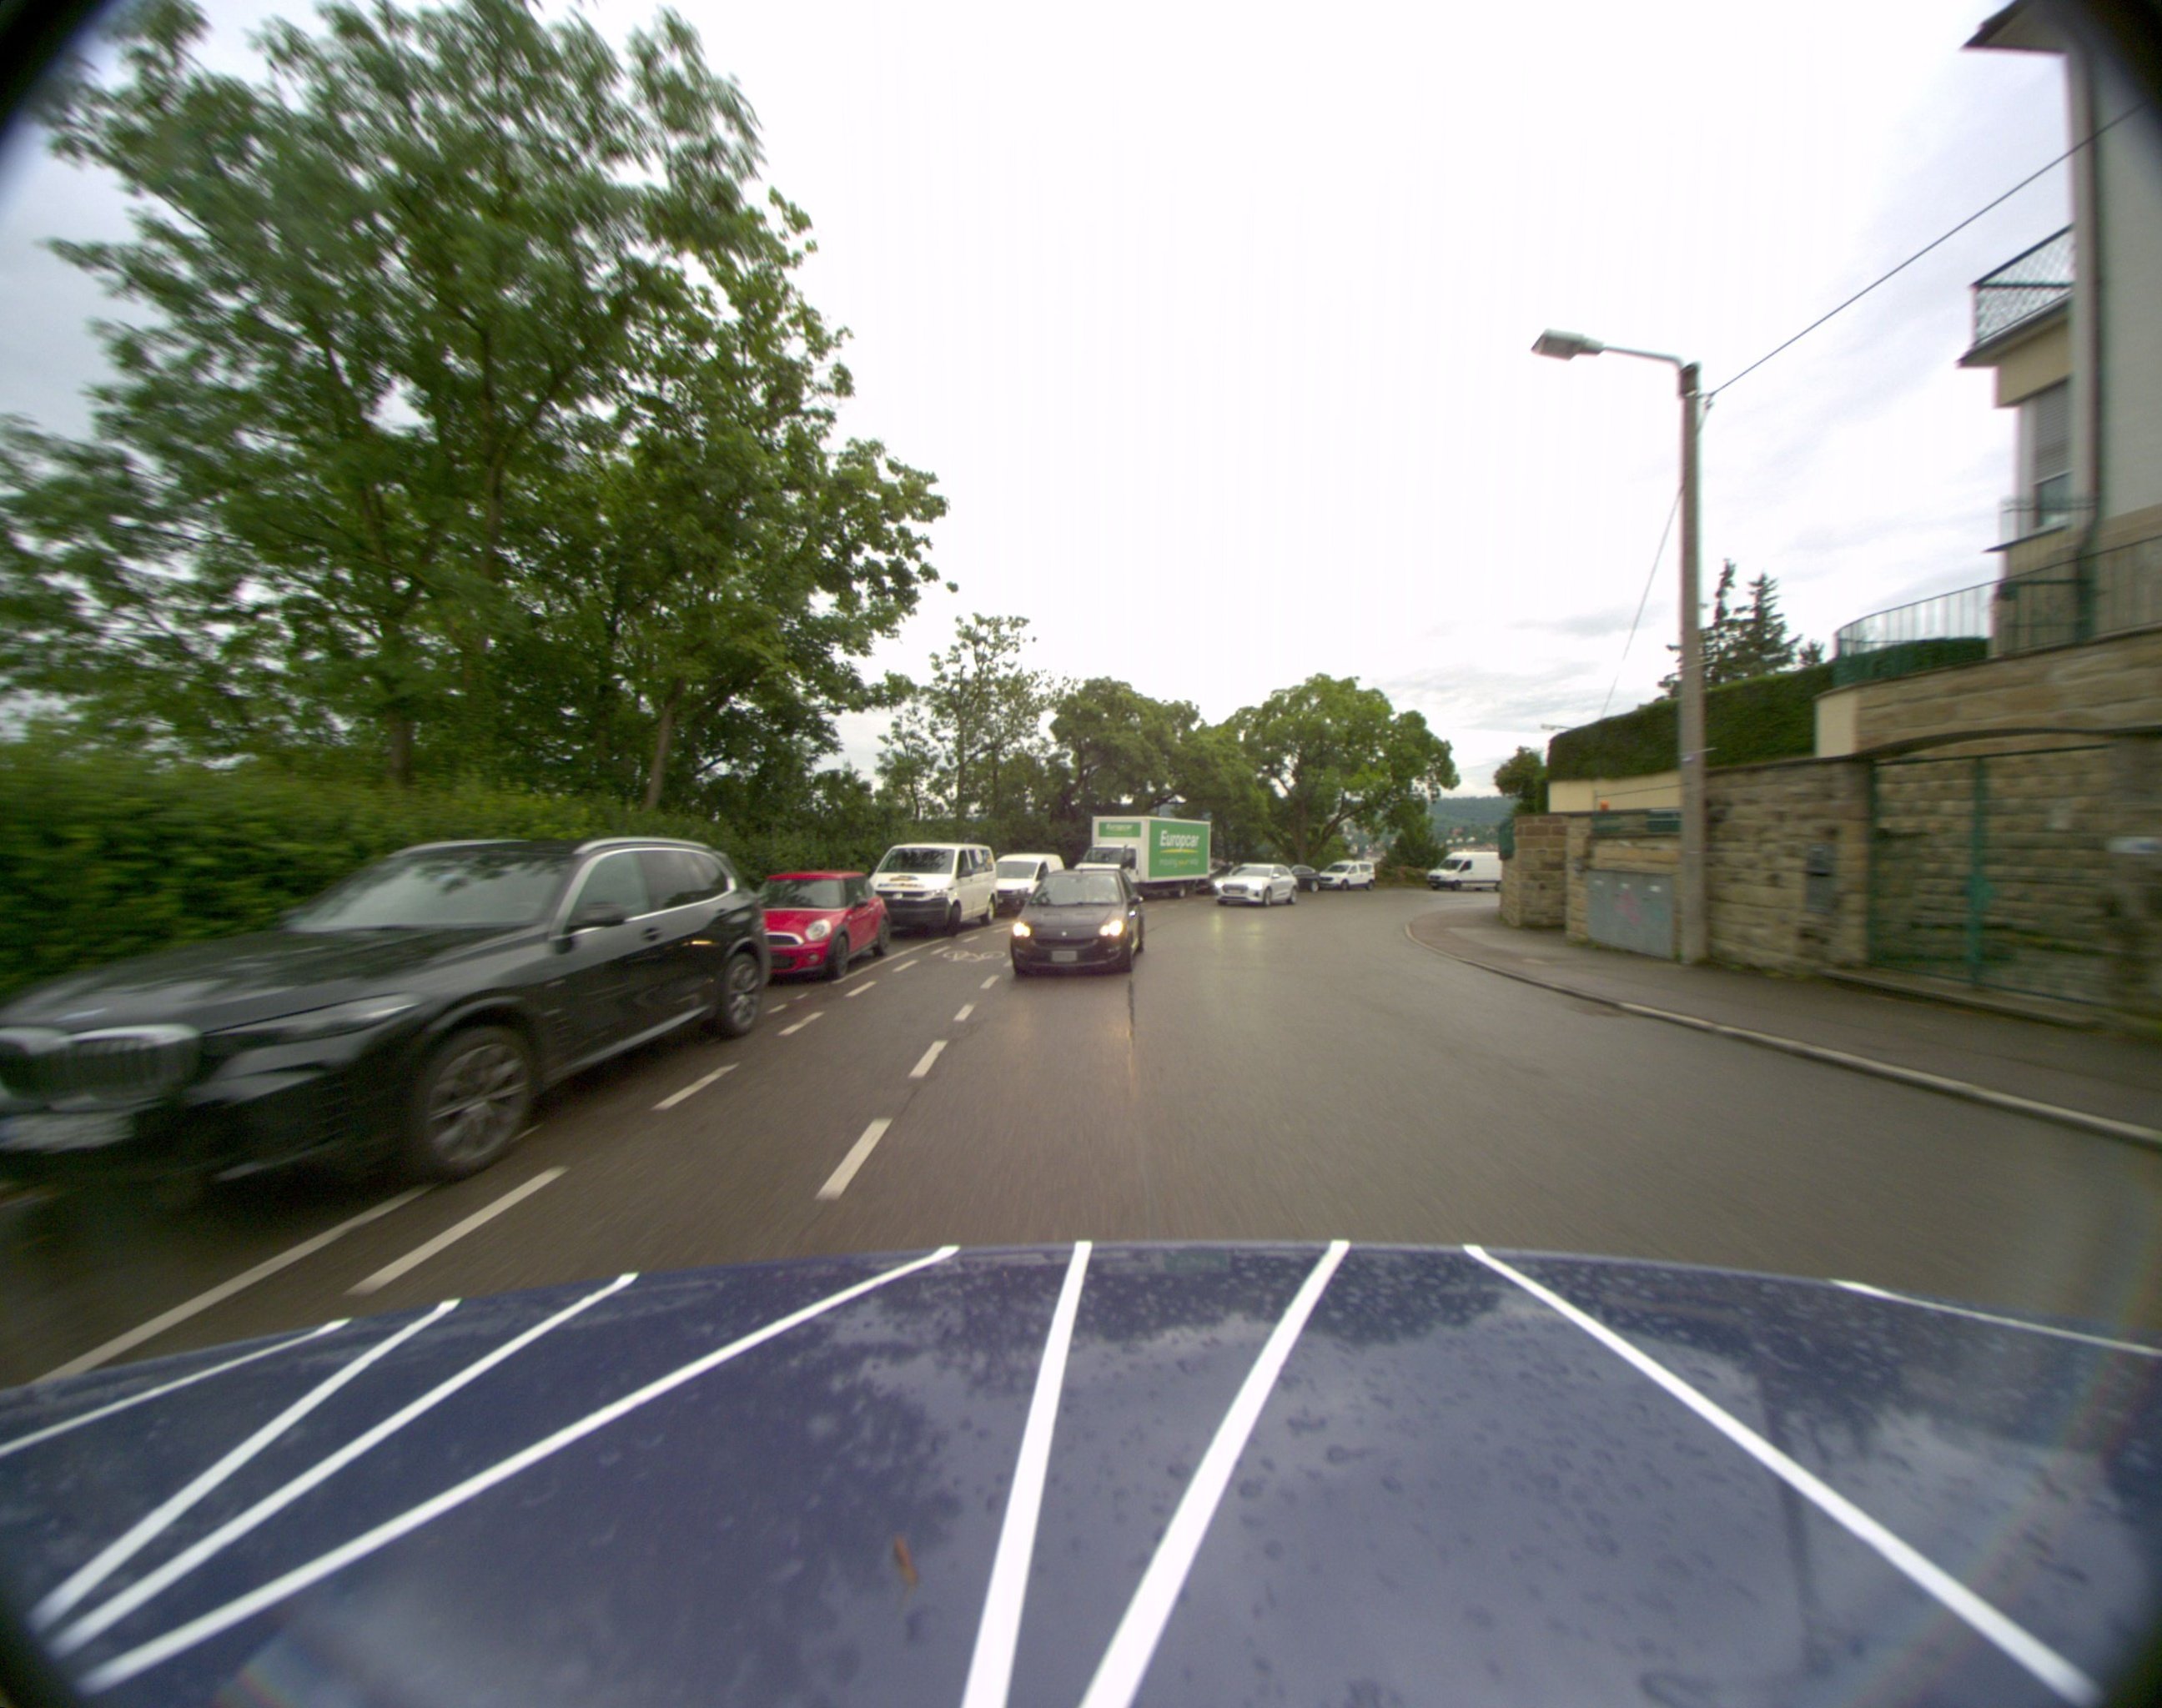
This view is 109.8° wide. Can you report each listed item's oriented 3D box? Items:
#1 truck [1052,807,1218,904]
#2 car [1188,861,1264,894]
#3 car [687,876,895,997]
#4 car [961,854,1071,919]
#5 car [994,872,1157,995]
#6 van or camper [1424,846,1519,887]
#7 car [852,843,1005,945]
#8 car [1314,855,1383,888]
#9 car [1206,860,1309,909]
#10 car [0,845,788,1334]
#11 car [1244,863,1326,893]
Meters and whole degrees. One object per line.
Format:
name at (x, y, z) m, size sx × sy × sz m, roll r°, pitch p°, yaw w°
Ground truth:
truck at (2.597, 0.098, 31.870) m, size 2.774 × 3.450 × 8.953 m, roll 3°, pitch 1°, yaw 33°
car at (7.354, 1.183, 38.366) m, size 1.734 × 1.494 × 4.145 m, roll 3°, pitch 0°, yaw 44°
car at (-3.997, 1.056, 11.152) m, size 1.675 × 1.405 × 3.742 m, roll 0°, pitch -1°, yaw -1°
car at (-1.821, 0.917, 22.868) m, size 1.862 × 1.760 × 4.385 m, roll 0°, pitch -1°, yaw 16°
car at (0.136, 1.068, 12.005) m, size 1.782 × 1.477 × 4.410 m, roll 3°, pitch -1°, yaw 9°
van or camper at (26.095, 0.839, 50.810) m, size 5.893 × 2.566 × 2.070 m, roll 1°, pitch 1°, yaw -18°
car at (-3.214, 0.796, 17.182) m, size 1.863 × 1.936 × 4.811 m, roll 1°, pitch 0°, yaw 8°
car at (16.188, 1.058, 45.905) m, size 4.433 × 1.810 × 1.747 m, roll 2°, pitch 1°, yaw -38°
car at (7.043, 1.139, 29.953) m, size 2.186 × 1.698 × 4.893 m, roll 3°, pitch 1°, yaw 36°
car at (-4.012, 0.890, 5.220) m, size 2.032 × 1.772 × 4.899 m, roll 0°, pitch -1°, yaw 1°
car at (11.398, 1.329, 42.340) m, size 4.906 × 1.533 × 1.860 m, roll 2°, pitch 0°, yaw -39°
